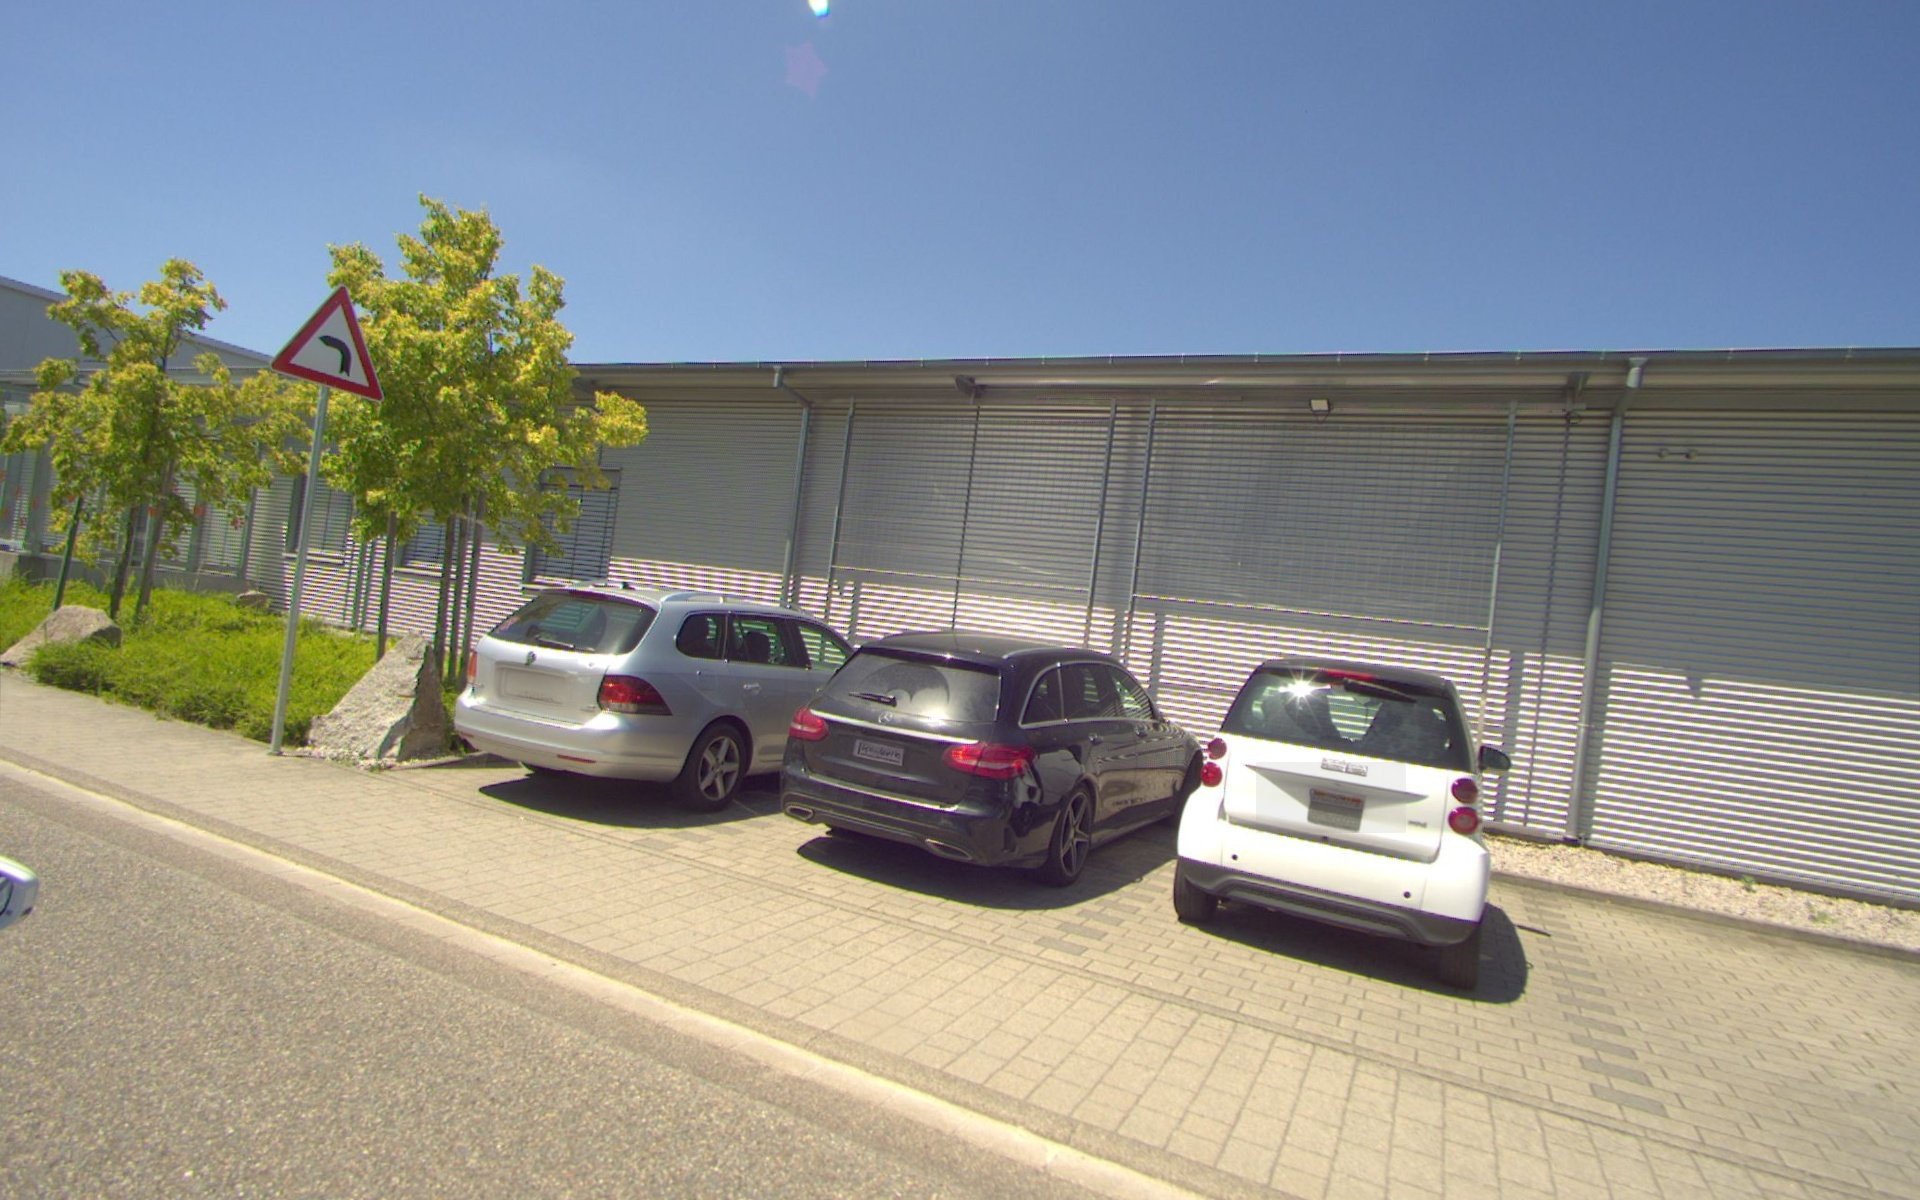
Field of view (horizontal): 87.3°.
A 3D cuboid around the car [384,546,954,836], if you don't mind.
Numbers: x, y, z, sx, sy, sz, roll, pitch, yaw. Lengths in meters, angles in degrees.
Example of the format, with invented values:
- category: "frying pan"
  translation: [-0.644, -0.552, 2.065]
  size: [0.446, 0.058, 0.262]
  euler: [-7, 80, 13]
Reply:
- category: "car"
  translation: [-1.949, 0.668, 8.162]
  size: [1.880, 1.559, 4.290]
  euler: [6, -1, 28]

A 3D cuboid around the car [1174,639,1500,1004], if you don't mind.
- category: "car"
  translation: [2.453, 1.156, 6.240]
  size: [1.388, 1.559, 2.713]
  euler: [6, -1, 28]

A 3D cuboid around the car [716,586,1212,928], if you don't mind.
- category: "car"
  translation: [0.323, 0.922, 7.110]
  size: [1.880, 1.559, 3.701]
  euler: [6, -1, 28]
